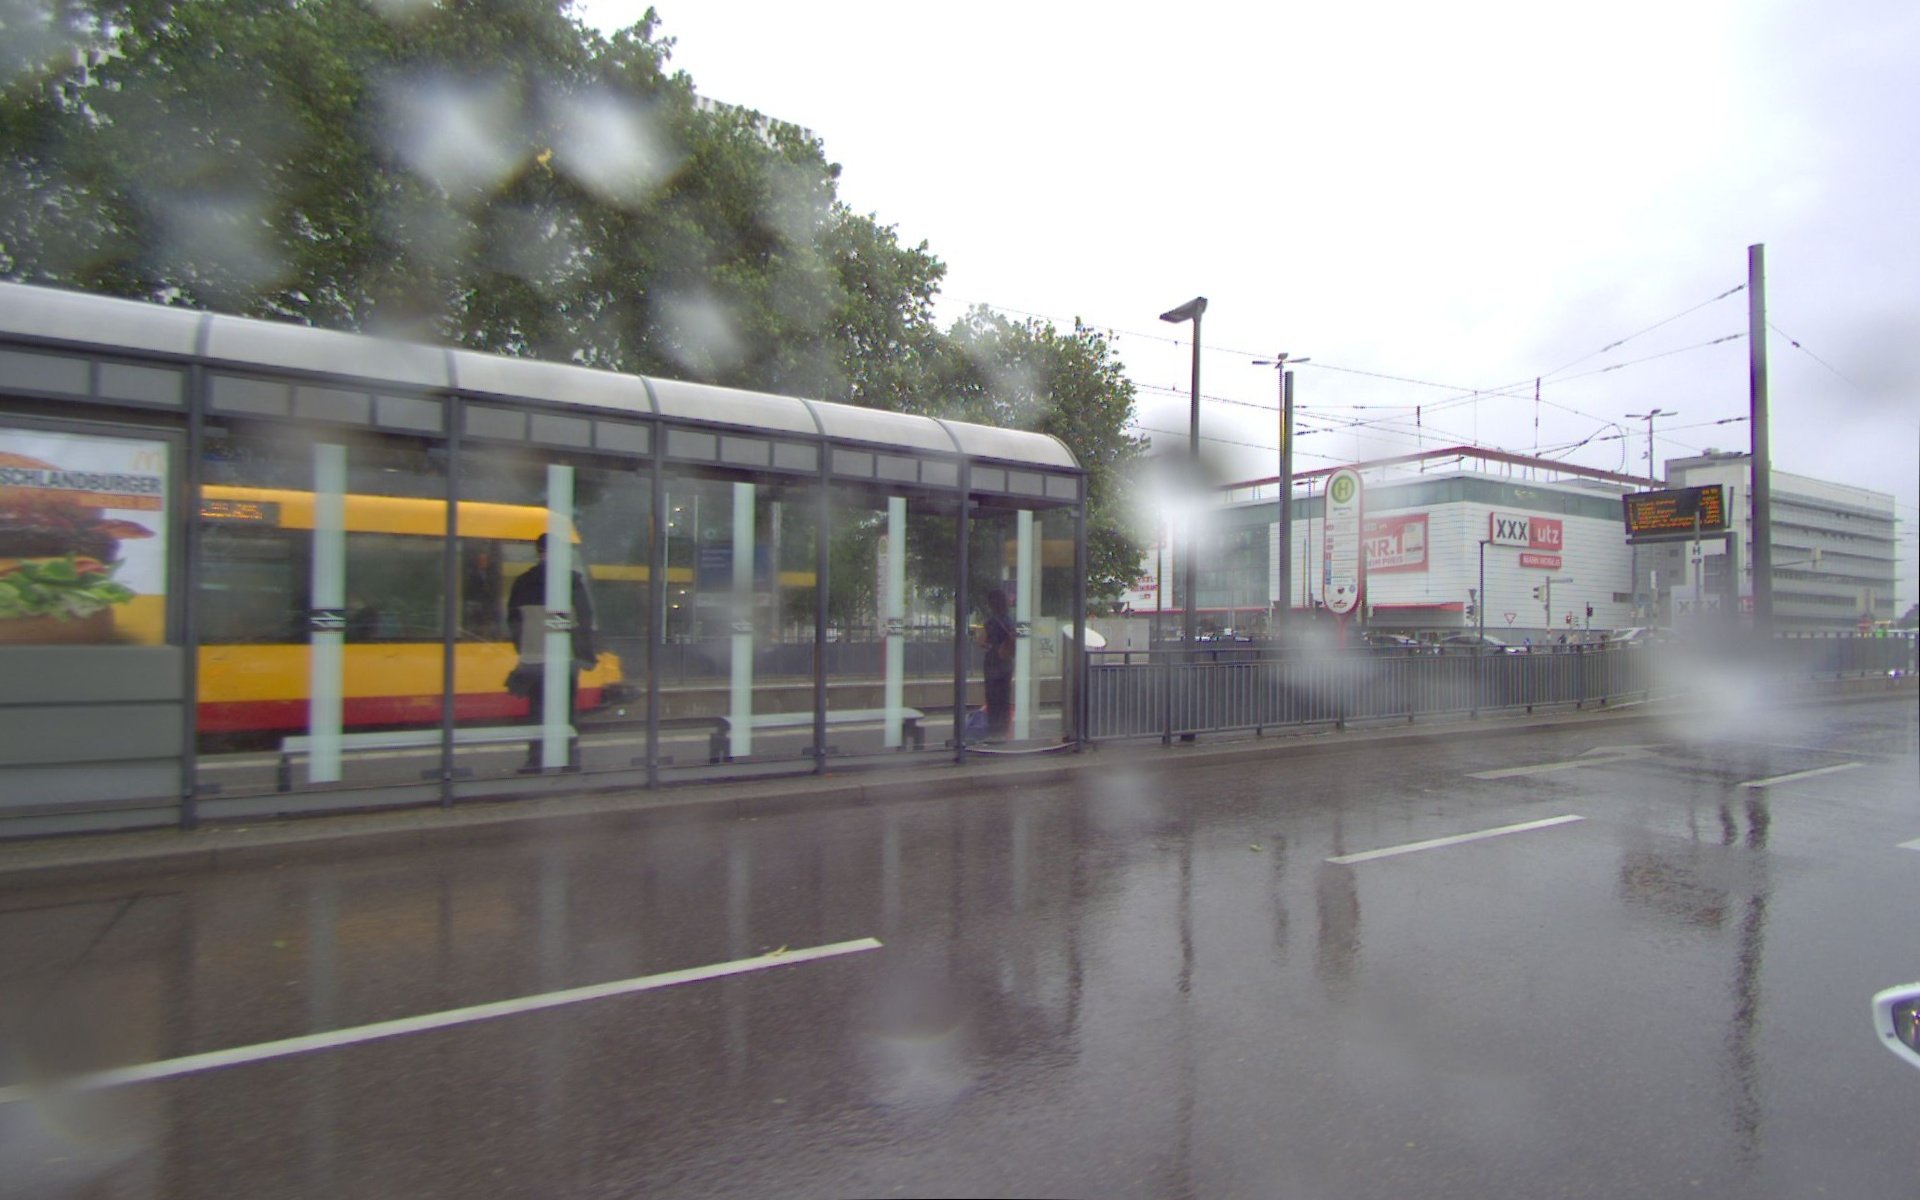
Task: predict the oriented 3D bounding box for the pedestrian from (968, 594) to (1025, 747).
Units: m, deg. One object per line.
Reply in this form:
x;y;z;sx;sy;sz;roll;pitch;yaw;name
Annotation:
0.364;0.702;10.152;0.410;1.513;0.320;2;0;-27;pedestrian

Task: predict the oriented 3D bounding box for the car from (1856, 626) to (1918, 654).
54.154;2.318;58.656;3.767;1.445;1.701;3;0;-32;car

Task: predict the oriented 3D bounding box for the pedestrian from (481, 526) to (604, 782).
-3.239;0.409;7.852;0.759;1.896;0.654;2;0;-16;pedestrian

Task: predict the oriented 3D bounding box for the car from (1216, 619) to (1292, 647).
18.508;2.076;63.319;1.809;1.521;4.218;3;0;-43;car

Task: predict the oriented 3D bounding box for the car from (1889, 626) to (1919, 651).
59.042;2.429;61.858;3.767;1.445;1.701;3;0;-32;car

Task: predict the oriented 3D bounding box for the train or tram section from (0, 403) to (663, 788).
-10.616;-0.063;11.802;13.113;3.890;3.719;2;0;-33;train or tram section

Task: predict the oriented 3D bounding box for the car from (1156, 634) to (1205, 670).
10.087;2.354;46.141;1.553;1.483;3.430;2;0;2;car

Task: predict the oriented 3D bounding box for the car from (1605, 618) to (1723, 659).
33.280;1.800;47.540;4.398;1.684;1.944;3;0;41;car

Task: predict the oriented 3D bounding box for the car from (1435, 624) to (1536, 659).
26.390;2.062;50.578;1.700;1.470;4.159;3;0;-34;car
